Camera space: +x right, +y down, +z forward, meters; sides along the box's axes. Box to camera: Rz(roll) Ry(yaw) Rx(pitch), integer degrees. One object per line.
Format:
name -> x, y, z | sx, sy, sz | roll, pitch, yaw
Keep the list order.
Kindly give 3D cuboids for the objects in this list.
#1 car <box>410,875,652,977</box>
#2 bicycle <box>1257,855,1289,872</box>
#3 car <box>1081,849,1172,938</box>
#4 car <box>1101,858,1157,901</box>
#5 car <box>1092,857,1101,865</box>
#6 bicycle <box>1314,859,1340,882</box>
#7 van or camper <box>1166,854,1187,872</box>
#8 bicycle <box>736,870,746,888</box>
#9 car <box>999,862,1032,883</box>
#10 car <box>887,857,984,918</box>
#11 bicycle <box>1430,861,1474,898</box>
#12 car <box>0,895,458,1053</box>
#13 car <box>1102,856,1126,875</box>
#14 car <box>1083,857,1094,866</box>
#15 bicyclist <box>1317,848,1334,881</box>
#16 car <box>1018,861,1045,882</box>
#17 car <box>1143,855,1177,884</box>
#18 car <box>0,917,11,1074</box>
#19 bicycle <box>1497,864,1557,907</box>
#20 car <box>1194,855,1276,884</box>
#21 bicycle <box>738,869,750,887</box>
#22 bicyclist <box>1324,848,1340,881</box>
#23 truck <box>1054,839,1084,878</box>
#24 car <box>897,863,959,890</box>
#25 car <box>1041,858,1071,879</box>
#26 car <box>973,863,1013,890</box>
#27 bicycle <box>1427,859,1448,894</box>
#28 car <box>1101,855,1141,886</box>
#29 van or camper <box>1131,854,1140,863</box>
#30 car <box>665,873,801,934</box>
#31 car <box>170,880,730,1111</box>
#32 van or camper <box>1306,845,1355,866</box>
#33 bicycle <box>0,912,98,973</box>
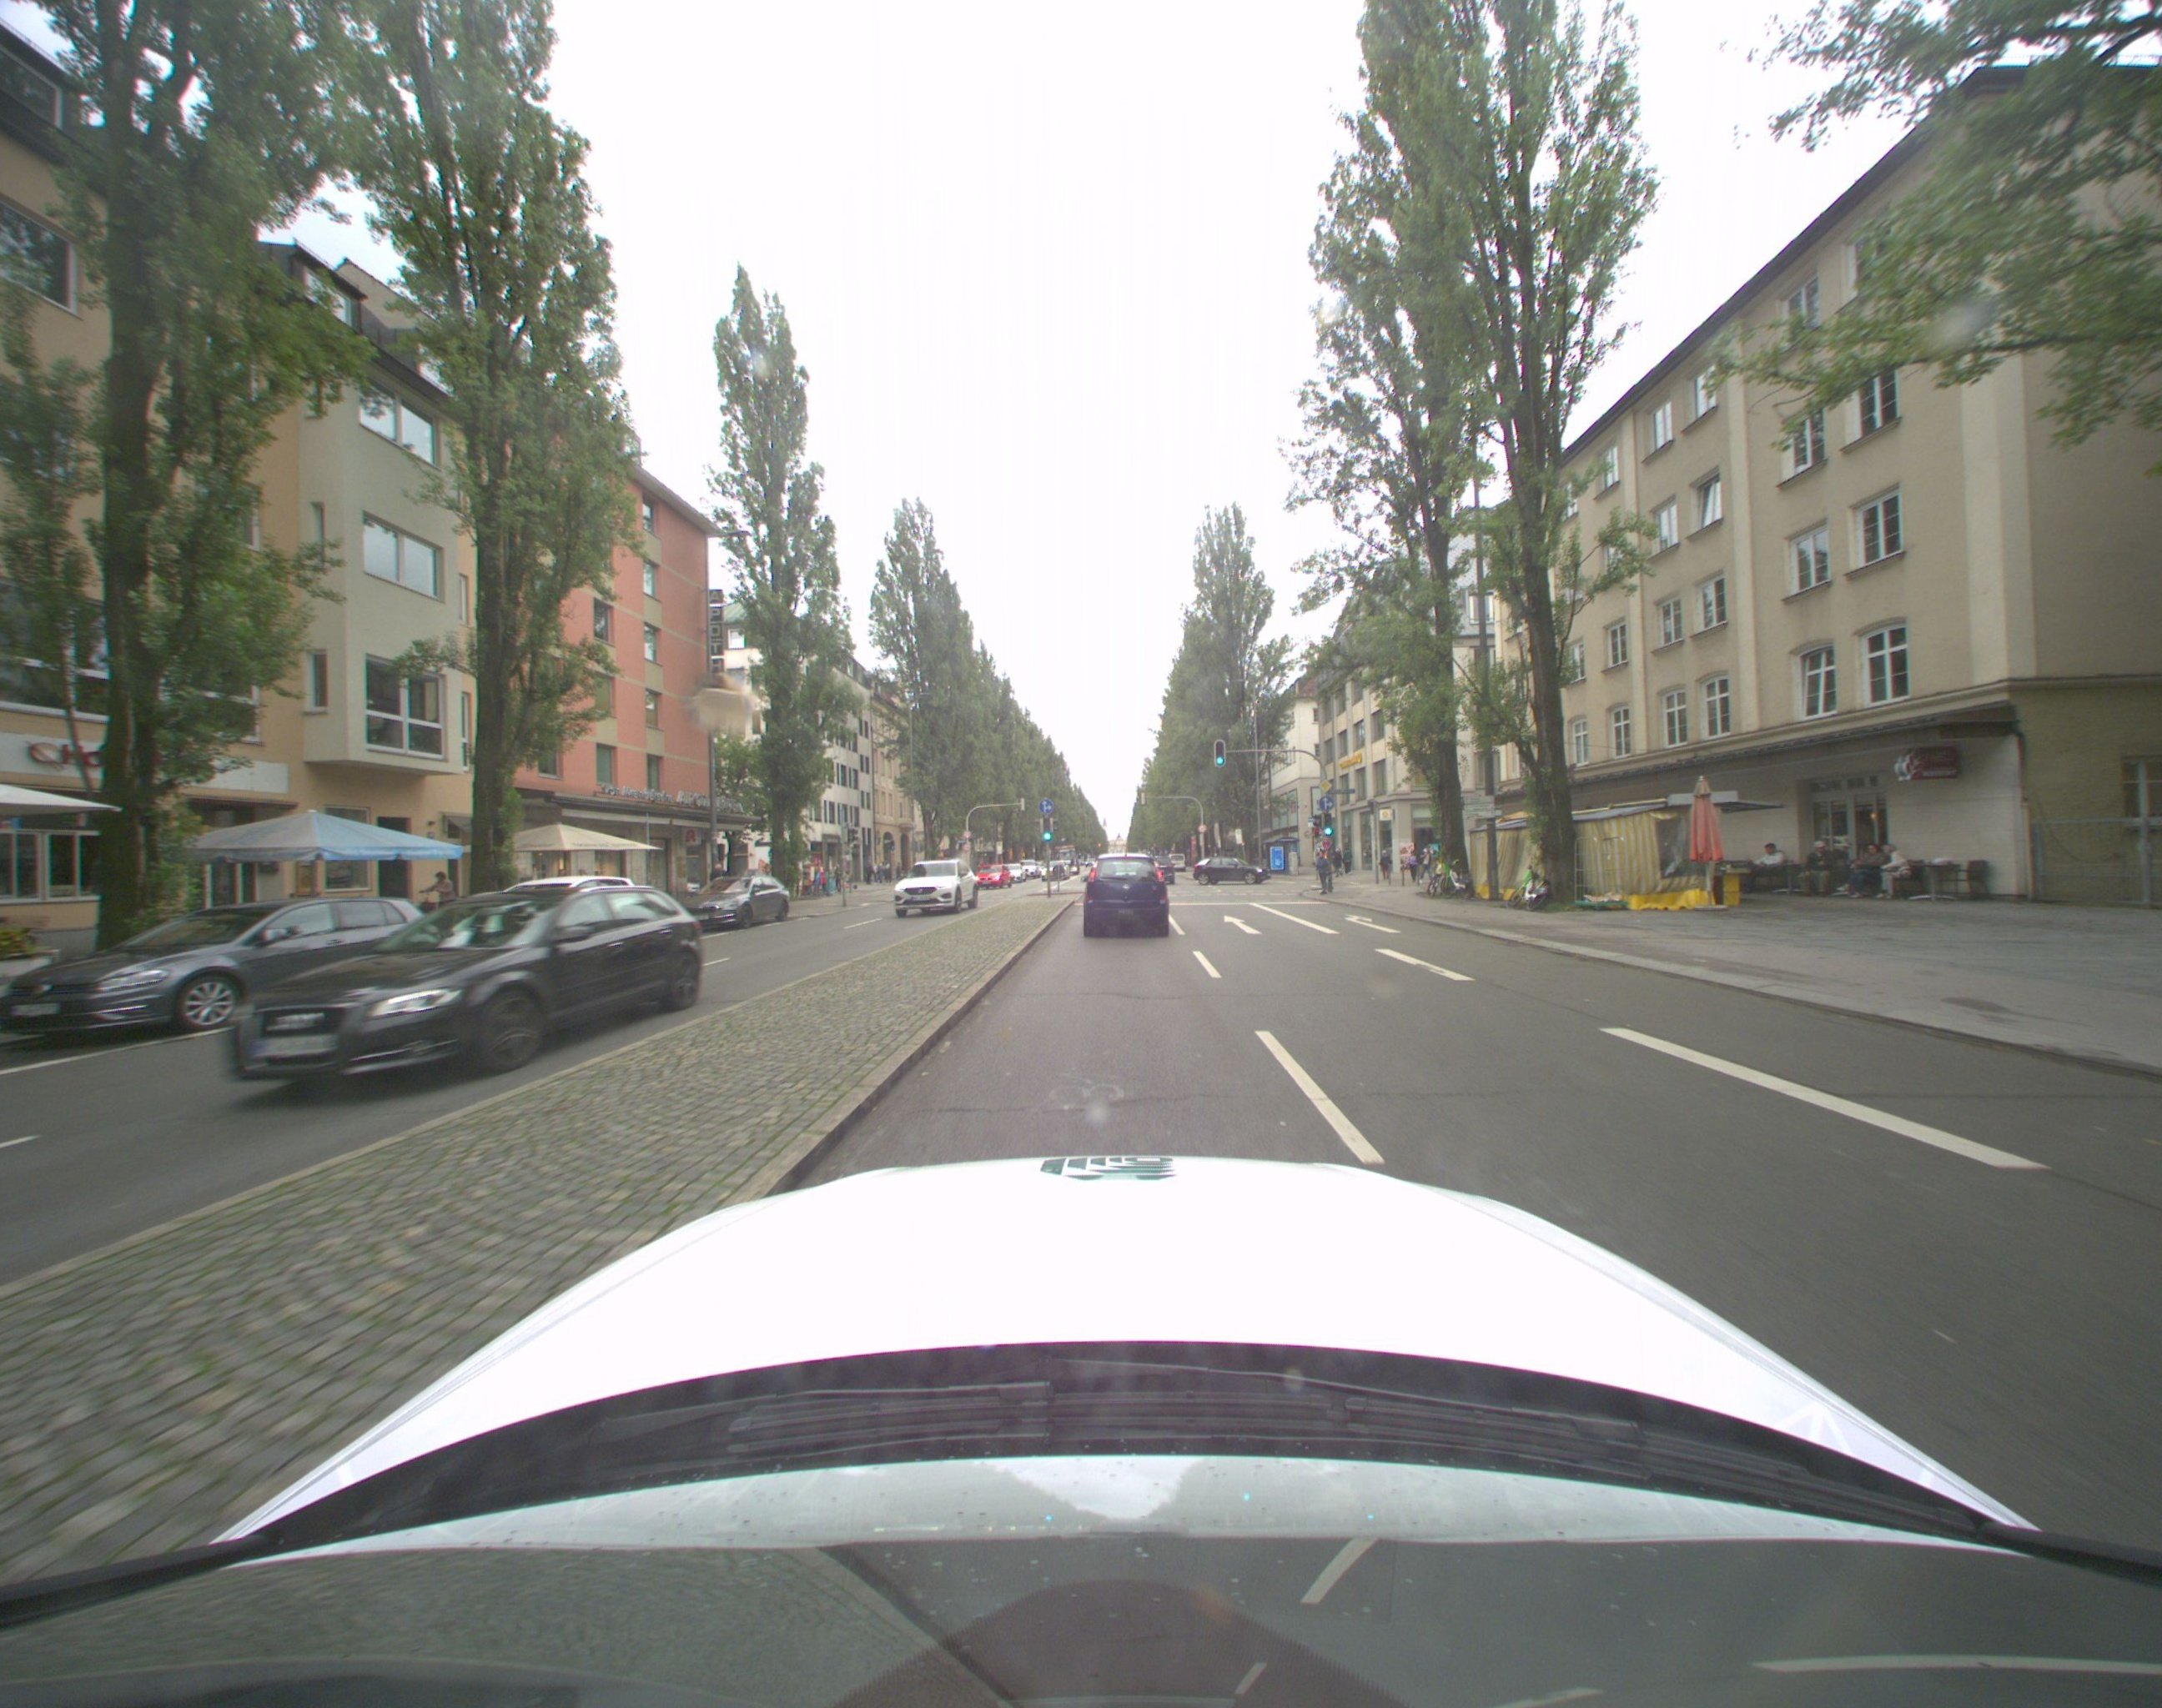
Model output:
car -> -10.353, 1.263, 15.774 | 1.696, 1.583, 4.098 | -3, -1, 2
bicycle -> 14.921, 0.737, 63.355 | 2.334, 1.252, 0.633 | -2, -1, 2
car -> 0.919, 0.748, 17.276 | 1.675, 1.641, 4.002 | -1, 0, 2
car -> 1.833, 0.951, 31.898 | 1.986, 1.497, 4.002 | -2, 0, 2
car -> 3.706, 1.623, 192.355 | 1.927, 1.623, 4.339 | -4, 0, 2
bicycle -> 12.404, 0.828, 41.115 | 0.624, 1.087, 2.264 | -2, 0, 2
van or camper -> 10.343, 0.954, 88.541 | 1.861, 1.883, 4.906 | -1, 0, 2
bicycle -> -23.466, 1.722, 56.213 | 0.416, 1.184, 1.997 | -2, 0, -17
car -> -4.882, 1.358, 61.382 | 1.815, 1.408, 4.635 | -3, -1, 2
car -> -4.396, 0.955, 25.318 | 1.836, 1.636, 4.579 | -3, 0, 3
bicycle -> 10.942, 0.738, 24.073 | 0.506, 1.048, 1.770 | -2, 0, 1
car -> -10.437, 1.330, 10.388 | 1.487, 1.381, 4.191 | -3, -1, 4
car -> 2.797, 0.995, 69.455 | 1.986, 1.497, 4.002 | -2, 0, 2
car -> 1.538, 1.370, 155.967 | 1.906, 1.681, 4.589 | -2, 0, 2
bicyclist -> 12.396, 0.529, 41.261 | 0.619, 1.588, 0.753 | -2, -1, 2
car -> -4.399, 1.522, 72.724 | 1.829, 1.716, 4.639 | -3, 0, 3
car -> 4.566, 0.873, 47.676 | 1.699, 1.574, 4.002 | -2, 0, 2
car -> -10.748, 1.302, 5.248 | 1.696, 1.412, 4.436 | -3, -1, 3
bicycle -> 10.905, 0.757, 19.972 | 0.506, 0.975, 1.770 | -2, 0, 1
car -> 8.376, 0.838, 44.363 | 3.948, 1.461, 1.770 | -2, 0, 30
bicycle -> -23.844, 1.687, 57.644 | 0.450, 1.184, 2.054 | -2, 0, -13
bicyclist -> 12.363, 0.517, 40.183 | 0.619, 1.588, 0.391 | -2, -1, 1
truck -> -1.131, 0.488, 82.678 | 2.453, 3.670, 8.445 | -2, 0, 3
car -> -9.660, 1.401, 51.422 | 3.700, 1.475, 1.763 | -2, 0, -17
car -> -1.899, 1.106, 62.999 | 1.836, 1.502, 4.989 | -3, 0, 2
car -> -5.225, 1.332, 48.860 | 1.729, 1.437, 3.826 | -3, -1, 3
bicycle -> 11.456, 0.699, 26.218 | 0.401, 1.070, 1.820 | 3, 1, 18
car -> 2.129, 0.843, 43.742 | 1.986, 1.497, 4.002 | -2, 0, 2
van or camper -> 15.040, 1.228, 225.042 | 2.466, 2.581, 5.848 | -2, 0, 3
car -> -9.834, 1.340, 23.440 | 1.696, 1.438, 4.593 | -3, -1, 3
car -> -5.281, 1.047, 7.721 | 1.829, 1.361, 4.179 | -4, 0, 3
van or camper -> 22.995, 0.144, 75.106 | 4.083, 1.867, 1.901 | -1, -1, 6
bicycle -> -19.874, 1.670, 15.249 | 0.440, 1.002, 1.959 | -2, 0, 4
